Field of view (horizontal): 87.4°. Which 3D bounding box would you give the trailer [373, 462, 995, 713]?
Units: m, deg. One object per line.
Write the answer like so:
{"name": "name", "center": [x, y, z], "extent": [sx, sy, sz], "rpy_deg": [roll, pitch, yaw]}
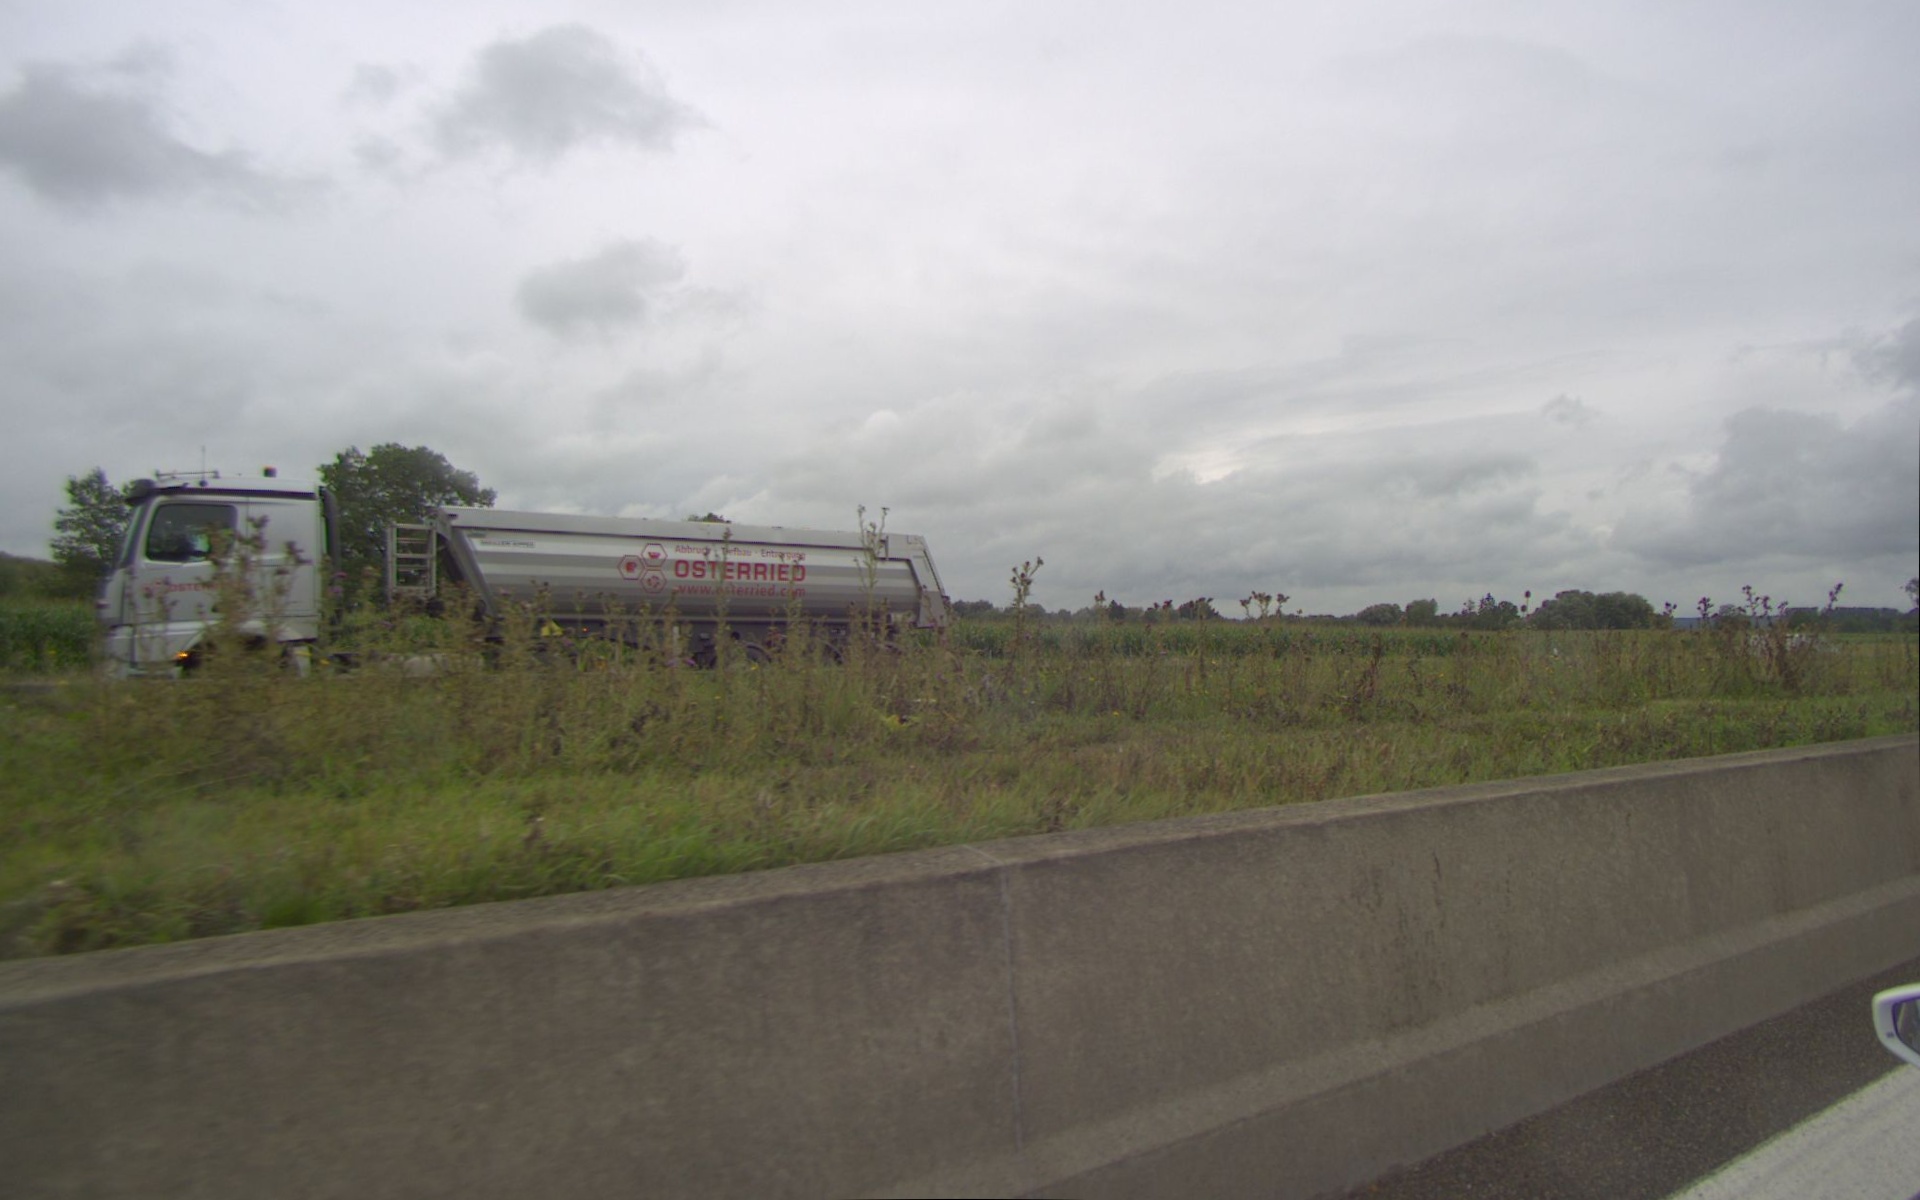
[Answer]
{"name": "trailer", "center": [-4.300, -0.041, 17.179], "extent": [9.812, 3.373, 2.773], "rpy_deg": [2, 0, -31]}

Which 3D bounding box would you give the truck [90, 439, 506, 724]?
{"name": "truck", "center": [-9.084, -0.169, 14.300], "extent": [4.469, 3.388, 2.742], "rpy_deg": [2, 0, -31]}
